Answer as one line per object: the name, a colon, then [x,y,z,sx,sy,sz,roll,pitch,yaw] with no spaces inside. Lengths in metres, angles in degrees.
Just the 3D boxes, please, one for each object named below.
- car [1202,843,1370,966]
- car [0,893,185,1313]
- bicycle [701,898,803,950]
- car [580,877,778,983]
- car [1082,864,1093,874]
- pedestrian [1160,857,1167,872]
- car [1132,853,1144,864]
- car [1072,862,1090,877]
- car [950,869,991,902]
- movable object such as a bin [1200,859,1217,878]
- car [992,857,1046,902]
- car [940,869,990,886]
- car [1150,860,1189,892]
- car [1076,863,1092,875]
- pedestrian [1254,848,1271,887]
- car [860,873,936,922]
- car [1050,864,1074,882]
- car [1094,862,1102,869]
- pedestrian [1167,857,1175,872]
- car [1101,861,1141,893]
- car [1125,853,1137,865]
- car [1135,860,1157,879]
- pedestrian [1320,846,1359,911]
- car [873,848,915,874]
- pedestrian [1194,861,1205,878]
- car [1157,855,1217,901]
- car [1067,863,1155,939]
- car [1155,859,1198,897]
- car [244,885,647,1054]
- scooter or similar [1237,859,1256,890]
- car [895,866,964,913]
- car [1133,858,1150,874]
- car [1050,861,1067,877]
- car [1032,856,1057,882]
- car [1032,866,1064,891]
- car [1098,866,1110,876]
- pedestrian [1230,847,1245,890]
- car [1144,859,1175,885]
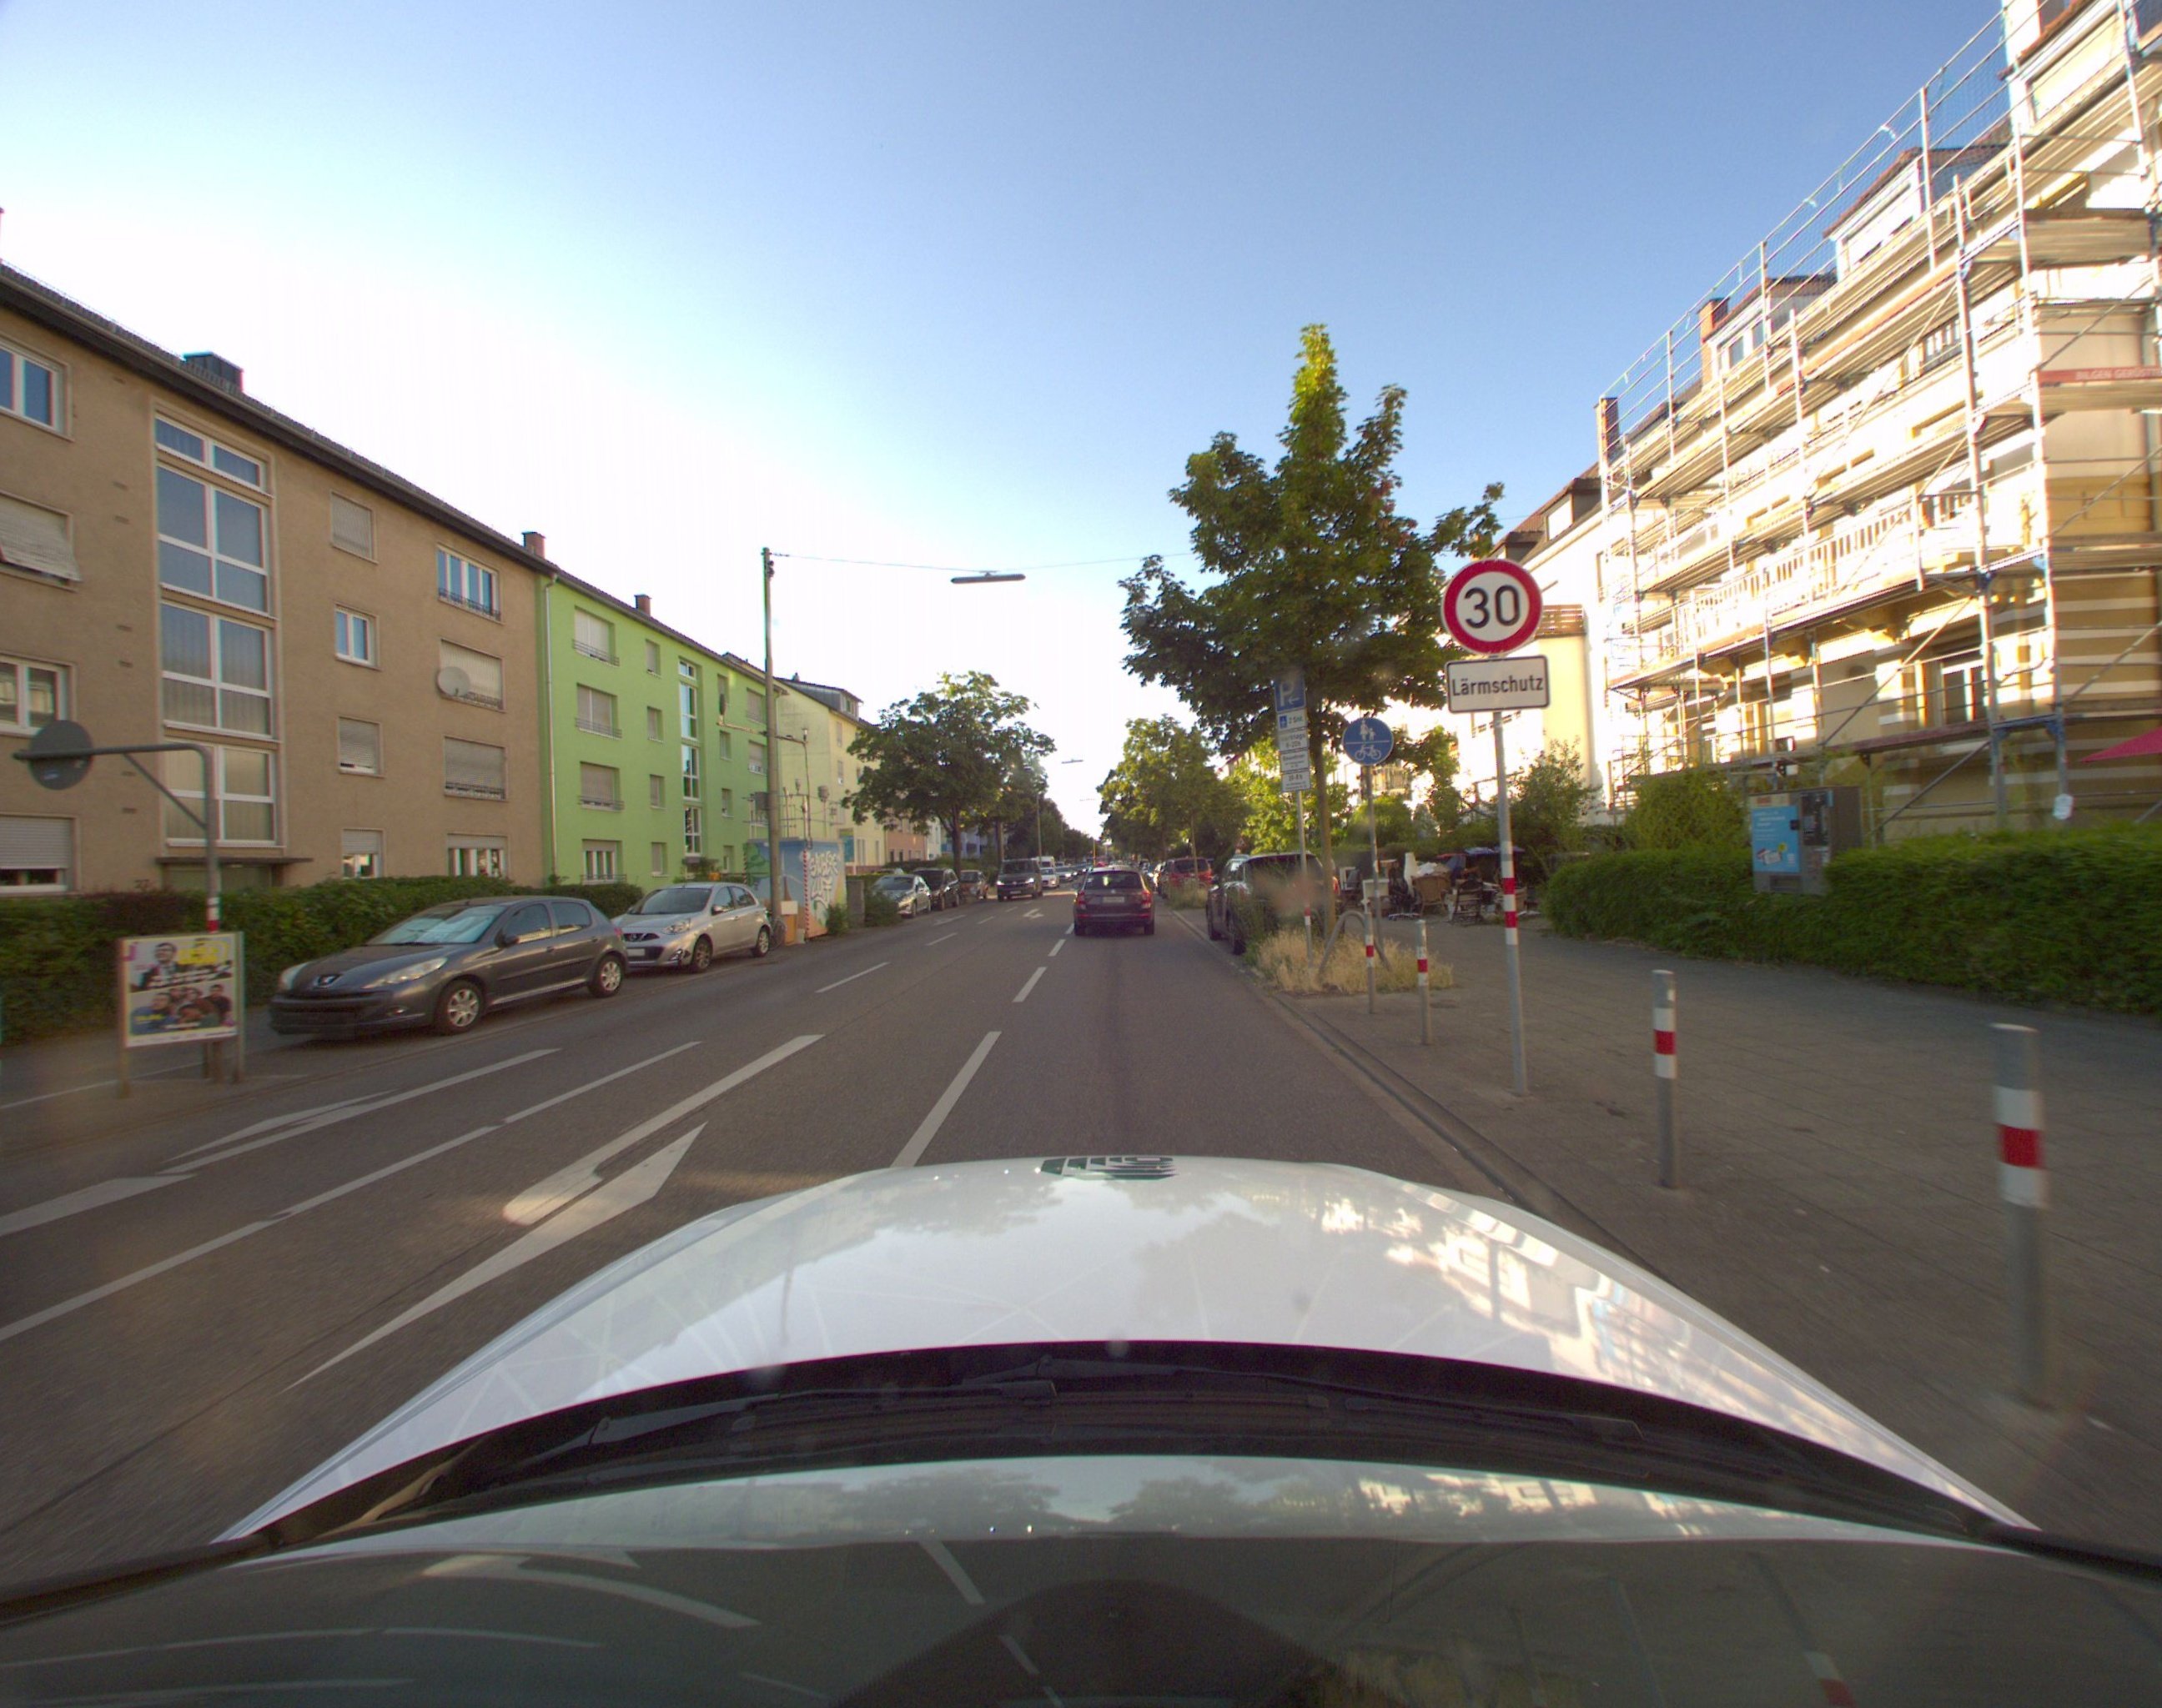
car: [3.183,0.734,13.496,1.785,1.632,4.030,-3,-1,1]
car: [-4.880,0.941,1.167,1.829,1.473,4.674,-4,-1,2]
bicycle: [-7.157,1.518,17.744,1.997,1.089,0.584,-1,-1,3]
car: [-7.110,1.265,14.858,1.631,1.552,3.786,-3,-1,1]
car: [1.152,2.592,142.546,1.874,1.543,4.265,-3,-1,-1]
pedestrian: [10.058,1.269,99.514,0.746,1.861,1.068,-3,-1,1]
car: [8.581,0.698,122.266,1.746,1.686,4.256,-1,-1,4]
car: [0.021,1.572,85.064,1.693,1.403,4.029,-4,-1,2]
car: [-5.843,1.652,43.423,1.492,1.617,2.865,-2,-1,5]
movable object such as a bin: [10.745,1.190,68.771,1.259,1.492,1.143,-5,-1,12]
car: [-3.003,1.234,40.452,1.986,1.946,4.779,-5,-1,2]
car: [-10.081,2.026,70.753,3.971,1.413,1.917,-1,-1,2]
car: [4.605,1.122,42.942,1.630,1.490,4.417,-4,-1,2]
car: [0.387,1.937,109.144,1.692,1.470,4.299,-4,-1,5]
pedestrian: [7.912,0.589,35.497,0.509,1.697,0.526,-2,-1,-3]
car: [-6.493,1.503,29.296,1.677,1.521,4.191,-2,-1,1]
car: [-1.674,1.679,73.127,1.825,1.470,4.453,-5,-1,2]
car: [4.703,3.119,226.018,1.989,1.750,3.995,-3,-1,-3]
pedestrian: [10.988,1.262,99.295,0.793,1.861,0.954,-3,-1,13]
car: [2.000,1.173,41.361,1.885,1.506,3.791,1,-2,2]
car: [8.531,0.877,138.555,1.908,1.860,5.639,-2,-1,4]
car: [5.762,1.379,72.765,1.712,1.601,4.098,-3,-1,2]
pedestrian: [6.479,0.604,20.458,0.557,1.568,0.744,-2,-1,-16]
car: [-13.041,0.530,56.908,1.820,1.683,4.001,-2,-1,2]
pedestrian: [9.011,1.175,61.857,0.670,1.235,0.791,-2,-1,3]
car: [4.179,0.939,32.747,1.716,1.656,4.596,-2,-1,-1]
car: [0.743,0.971,18.471,1.746,1.492,4.004,-1,-1,4]
car: [4.345,1.054,37.556,1.630,1.568,4.002,-4,-1,2]
car: [-7.318,1.217,9.987,1.646,1.479,3.947,-3,-1,3]
scooter or similar: [7.142,0.870,35.204,0.742,1.317,0.723,-2,-1,9]
car: [-6.277,1.443,34.263,1.776,1.733,4.620,-3,-1,3]
car: [7.374,1.456,99.325,1.794,1.808,4.423,-1,-1,0]
car: [-2.967,1.990,109.371,1.862,2.031,5.302,-2,-1,2]
car: [-3.824,1.563,86.225,1.986,2.616,7.108,-1,-1,2]
car: [-2.215,1.639,55.438,1.809,1.446,4.111,-5,-1,1]
car: [3.591,2.719,128.717,1.776,1.480,3.969,-1,-1,-1]
pedestrian: [6.782,0.623,35.261,0.545,1.849,0.766,-2,-1,9]
car: [5.283,1.179,55.159,1.866,1.581,4.825,-4,-1,4]
